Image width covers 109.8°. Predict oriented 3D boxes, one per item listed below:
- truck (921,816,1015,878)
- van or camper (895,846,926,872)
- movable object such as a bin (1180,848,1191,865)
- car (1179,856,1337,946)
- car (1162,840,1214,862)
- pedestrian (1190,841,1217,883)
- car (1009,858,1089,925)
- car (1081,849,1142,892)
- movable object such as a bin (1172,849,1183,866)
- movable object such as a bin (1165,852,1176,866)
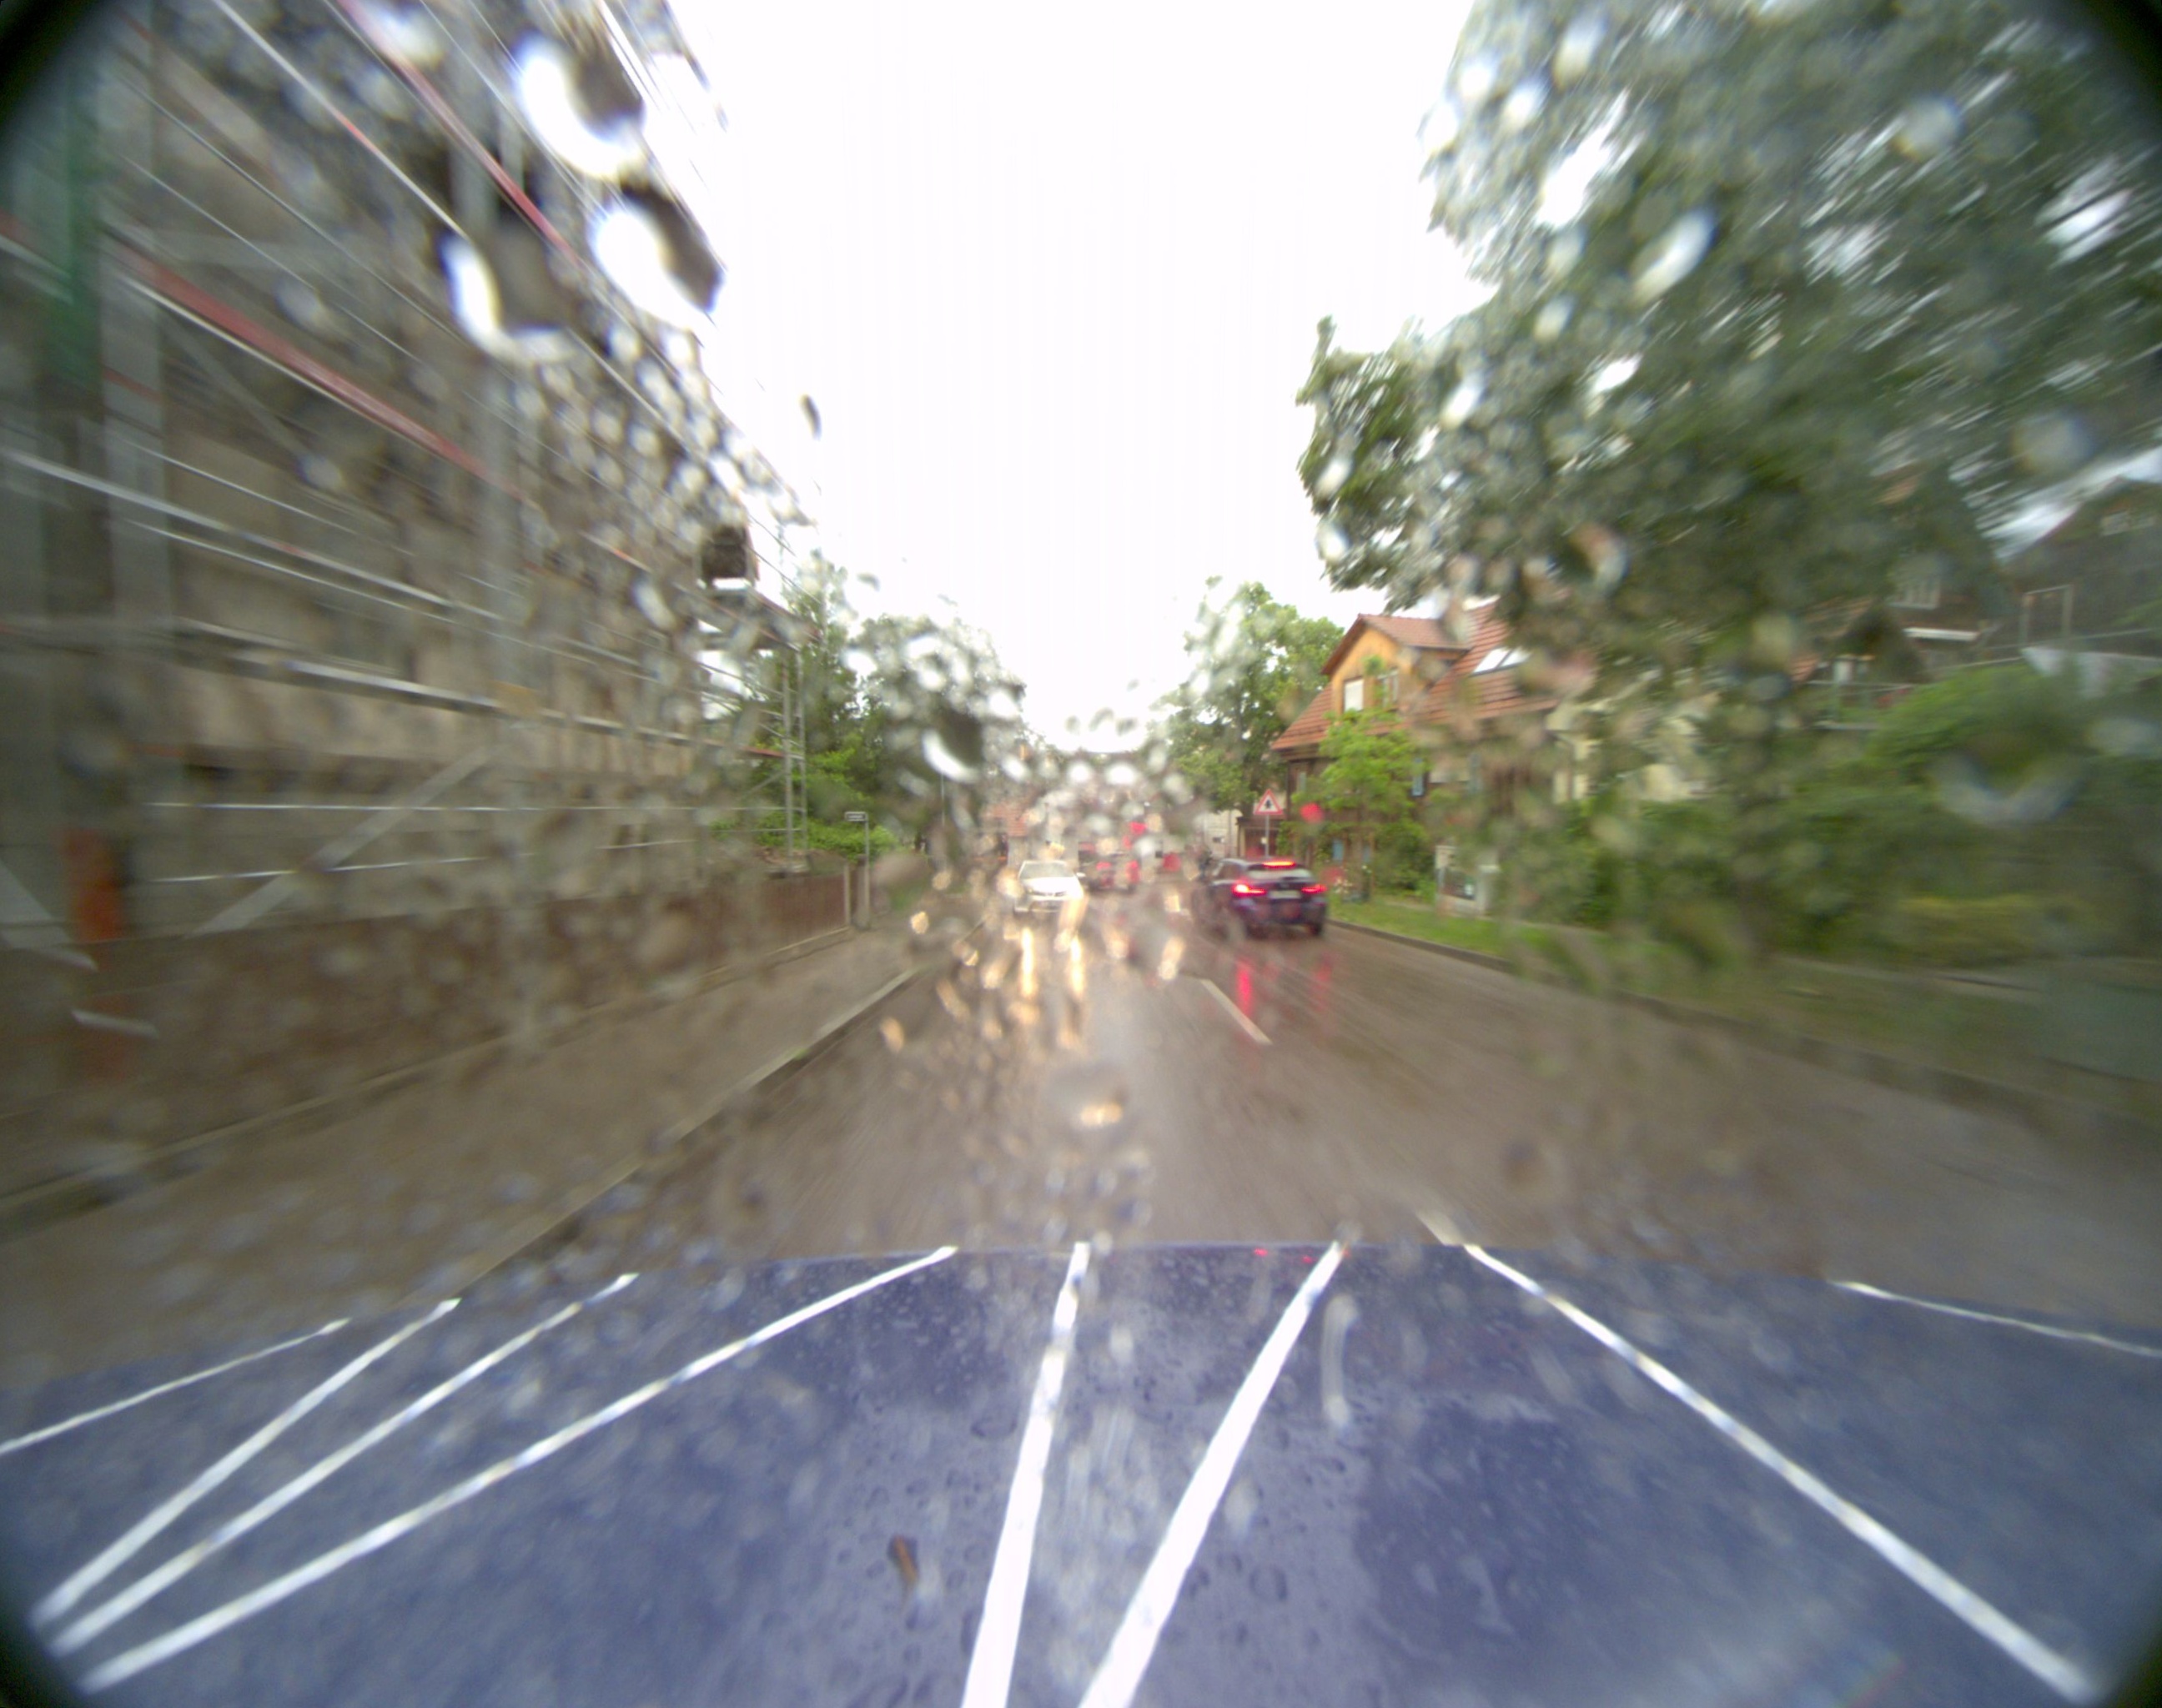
[{"bbox_3d":[-8.161,-0.419,53.452,2.861,3.945,10.406,-2,1,-29],"label":"truck"},{"bbox_3d":[-17.360,0.450,77.031,2.003,2.519,4.734,-2,1,-26],"label":"van or camper"},{"bbox_3d":[7.113,0.179,51.919,0.531,1.117,0.516,-2,1,-25],"label":"movable object such as a bin"},{"bbox_3d":[3.237,0.793,14.754,1.770,1.432,4.061,-2,0,-5],"label":"car"},{"bbox_3d":[7.643,-0.210,54.603,1.729,1.524,3.991,-2,1,-27],"label":"car"},{"bbox_3d":[5.552,0.354,34.508,0.971,1.820,0.894,-2,1,-8],"label":"pedestrian"},{"bbox_3d":[-0.866,0.908,20.203,1.859,1.427,4.015,-3,1,-3],"label":"car"},{"bbox_3d":[1.193,0.636,31.737,1.894,1.606,4.137,-2,0,-7],"label":"car"},{"bbox_3d":[6.581,0.234,51.698,0.546,1.117,0.516,-2,1,-25],"label":"movable object such as a bin"},{"bbox_3d":[6.041,0.343,51.511,0.518,0.935,0.500,-2,1,-25],"label":"movable object such as a bin"}]
